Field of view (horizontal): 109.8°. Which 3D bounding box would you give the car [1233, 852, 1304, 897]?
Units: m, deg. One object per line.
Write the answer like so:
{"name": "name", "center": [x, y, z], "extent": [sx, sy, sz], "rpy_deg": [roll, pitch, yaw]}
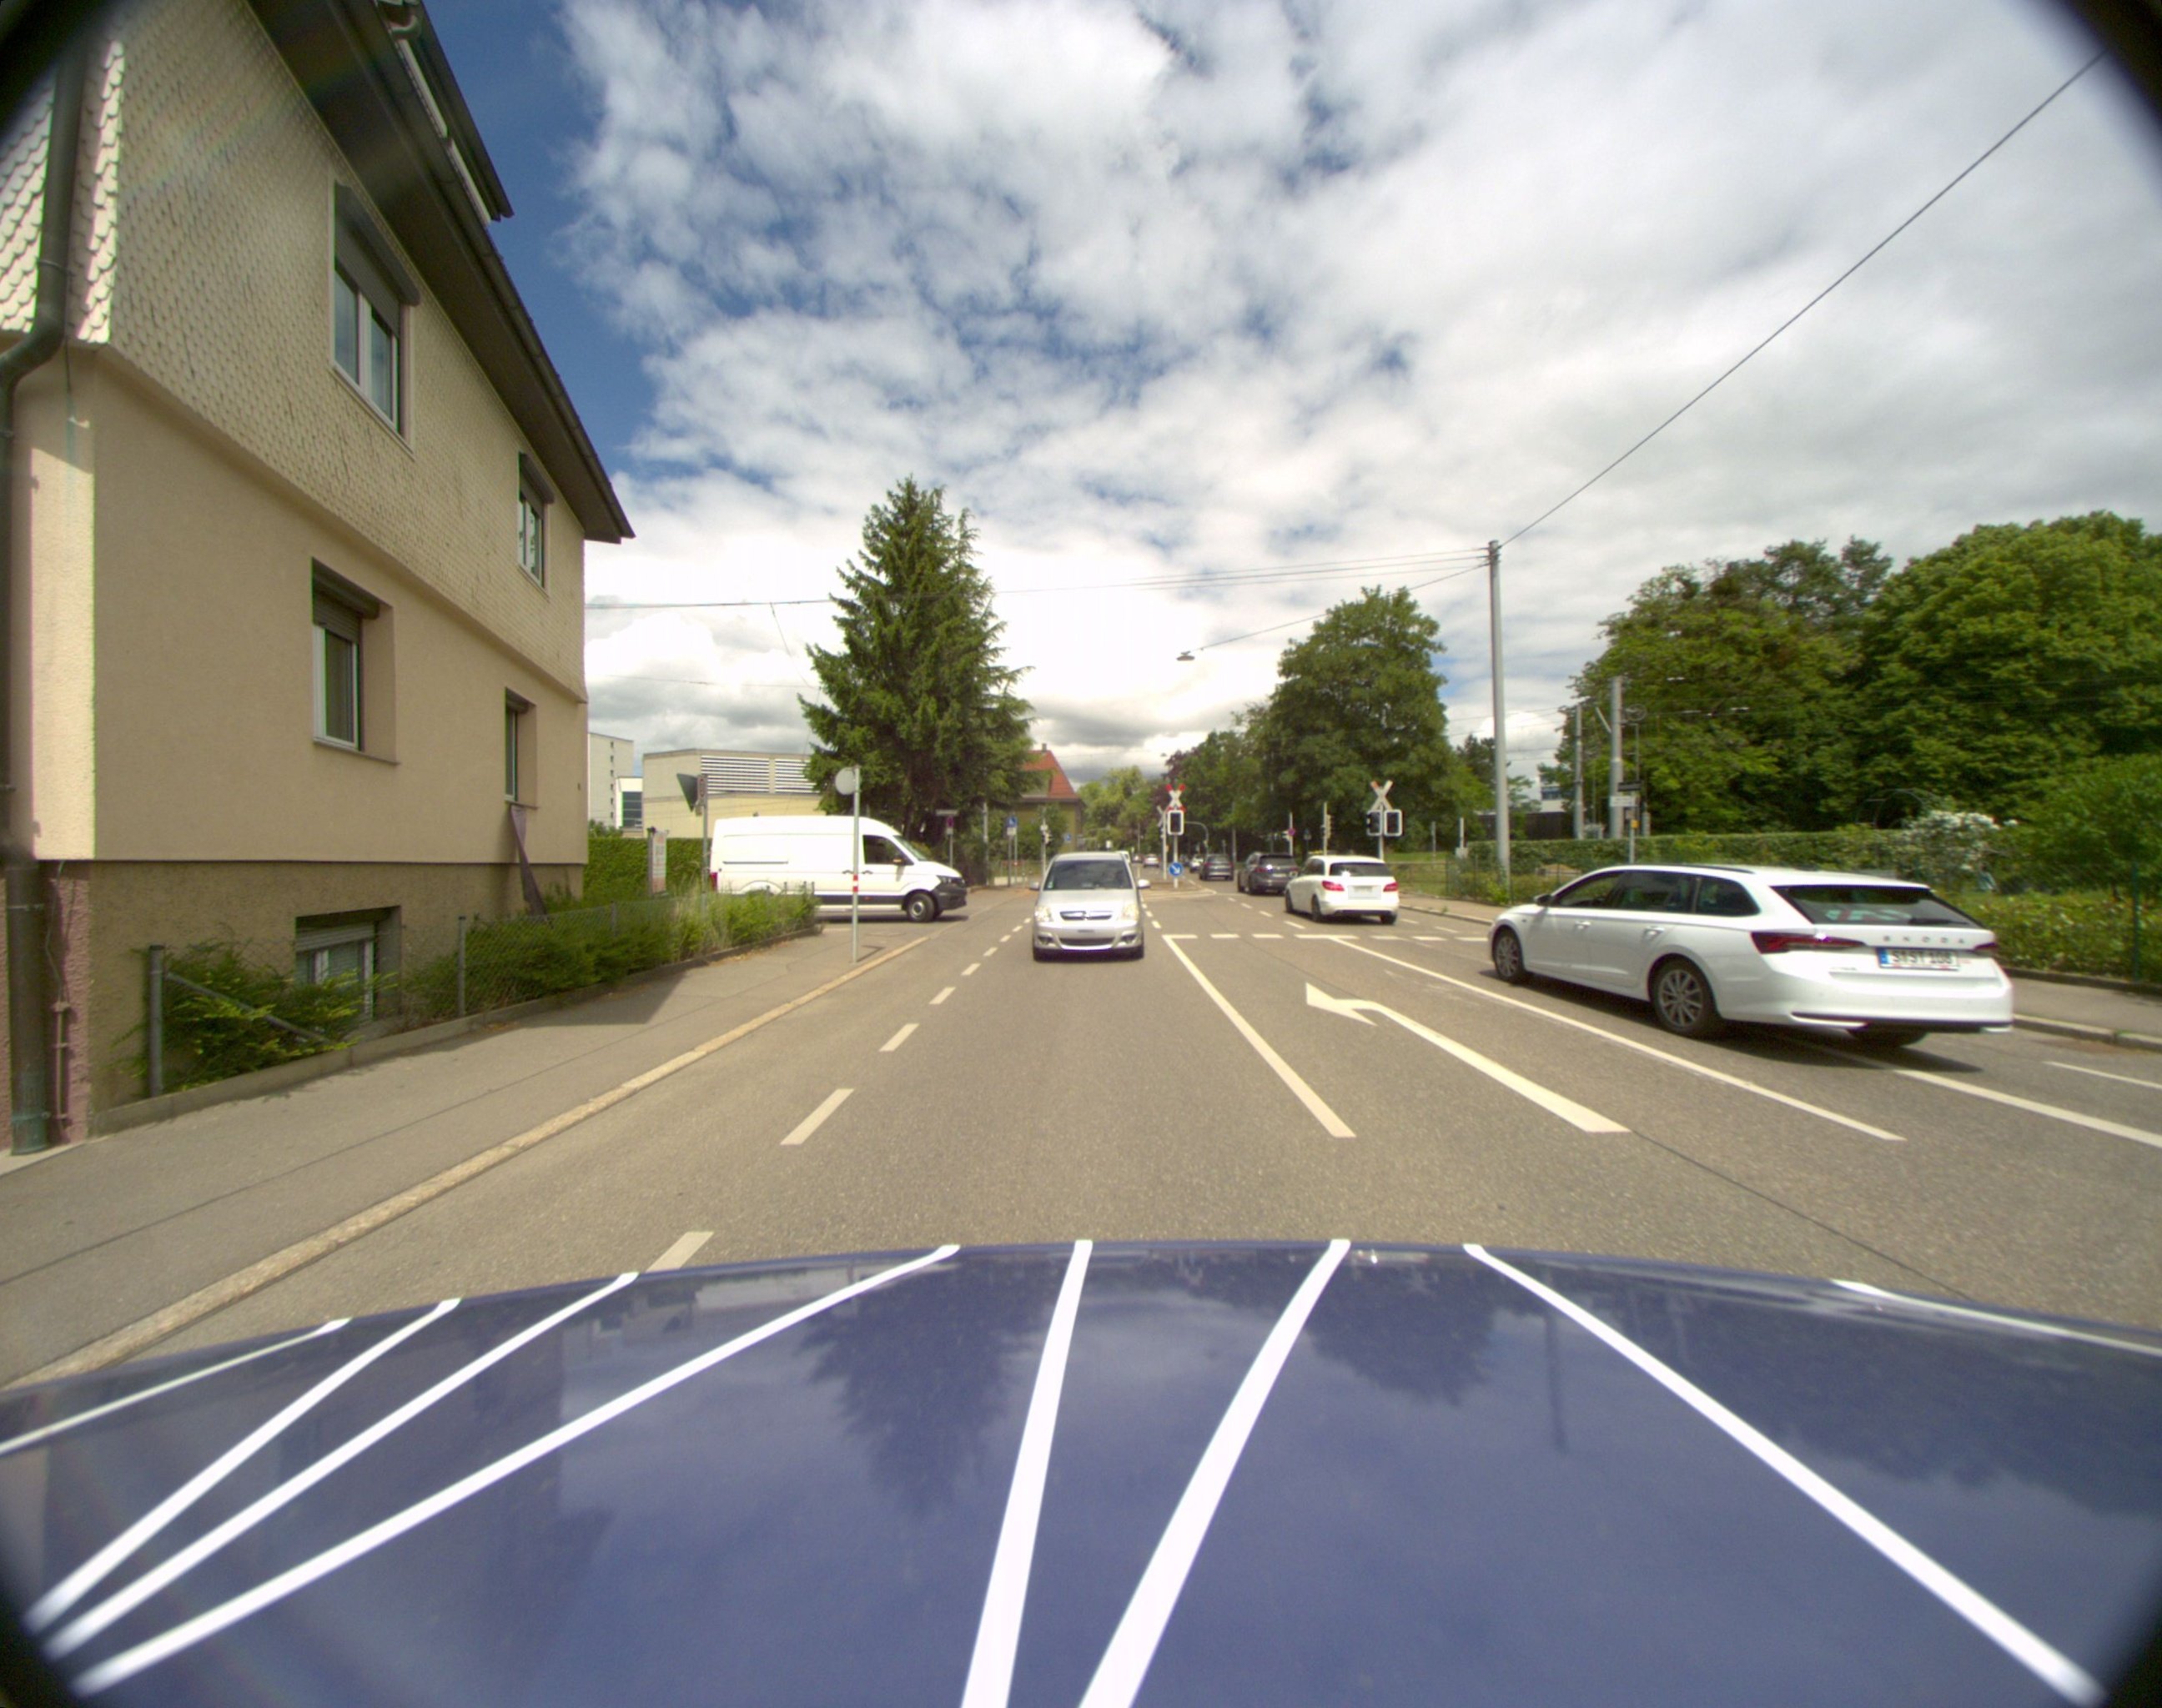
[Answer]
{"name": "car", "center": [7.110, 0.731, 29.243], "extent": [1.801, 1.583, 4.000], "rpy_deg": [-2, 0, 1]}

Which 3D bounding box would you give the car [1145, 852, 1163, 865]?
{"name": "car", "center": [8.252, 0.478, 86.072], "extent": [1.932, 1.412, 4.001], "rpy_deg": [-2, 0, 3]}

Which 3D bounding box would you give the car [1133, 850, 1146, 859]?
{"name": "car", "center": [9.368, 0.038, 122.225], "extent": [1.932, 1.412, 4.001], "rpy_deg": [-2, 0, 3]}

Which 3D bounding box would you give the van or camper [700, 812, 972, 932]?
{"name": "van or camper", "center": [-5.754, 0.418, 18.531], "extent": [5.920, 2.565, 2.031], "rpy_deg": [-2, 0, -4]}

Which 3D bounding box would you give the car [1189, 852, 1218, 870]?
{"name": "car", "center": [10.096, 0.571, 62.825], "extent": [1.932, 1.412, 4.001], "rpy_deg": [-2, 0, 3]}

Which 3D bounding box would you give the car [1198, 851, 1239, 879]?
{"name": "car", "center": [8.201, 0.648, 45.609], "extent": [1.785, 1.576, 4.000], "rpy_deg": [0, 0, 1]}

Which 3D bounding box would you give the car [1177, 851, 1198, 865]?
{"name": "car", "center": [11.867, 0.434, 84.851], "extent": [1.932, 1.412, 4.001], "rpy_deg": [-2, 0, 3]}

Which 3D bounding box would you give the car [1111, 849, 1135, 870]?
{"name": "car", "center": [3.691, 0.432, 67.063], "extent": [1.933, 1.771, 4.000], "rpy_deg": [-2, 0, 2]}

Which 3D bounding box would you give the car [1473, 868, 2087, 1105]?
{"name": "car", "center": [5.825, 0.930, 7.319], "extent": [1.880, 1.467, 4.442], "rpy_deg": [0, 0, 1]}

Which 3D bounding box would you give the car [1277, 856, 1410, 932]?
{"name": "car", "center": [6.153, 0.862, 18.321], "extent": [1.851, 1.565, 4.159], "rpy_deg": [-1, 0, 1]}

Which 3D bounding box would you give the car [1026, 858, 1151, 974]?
{"name": "car", "center": [0.158, 0.883, 12.813], "extent": [1.708, 1.531, 4.330], "rpy_deg": [-2, 0, 1]}
